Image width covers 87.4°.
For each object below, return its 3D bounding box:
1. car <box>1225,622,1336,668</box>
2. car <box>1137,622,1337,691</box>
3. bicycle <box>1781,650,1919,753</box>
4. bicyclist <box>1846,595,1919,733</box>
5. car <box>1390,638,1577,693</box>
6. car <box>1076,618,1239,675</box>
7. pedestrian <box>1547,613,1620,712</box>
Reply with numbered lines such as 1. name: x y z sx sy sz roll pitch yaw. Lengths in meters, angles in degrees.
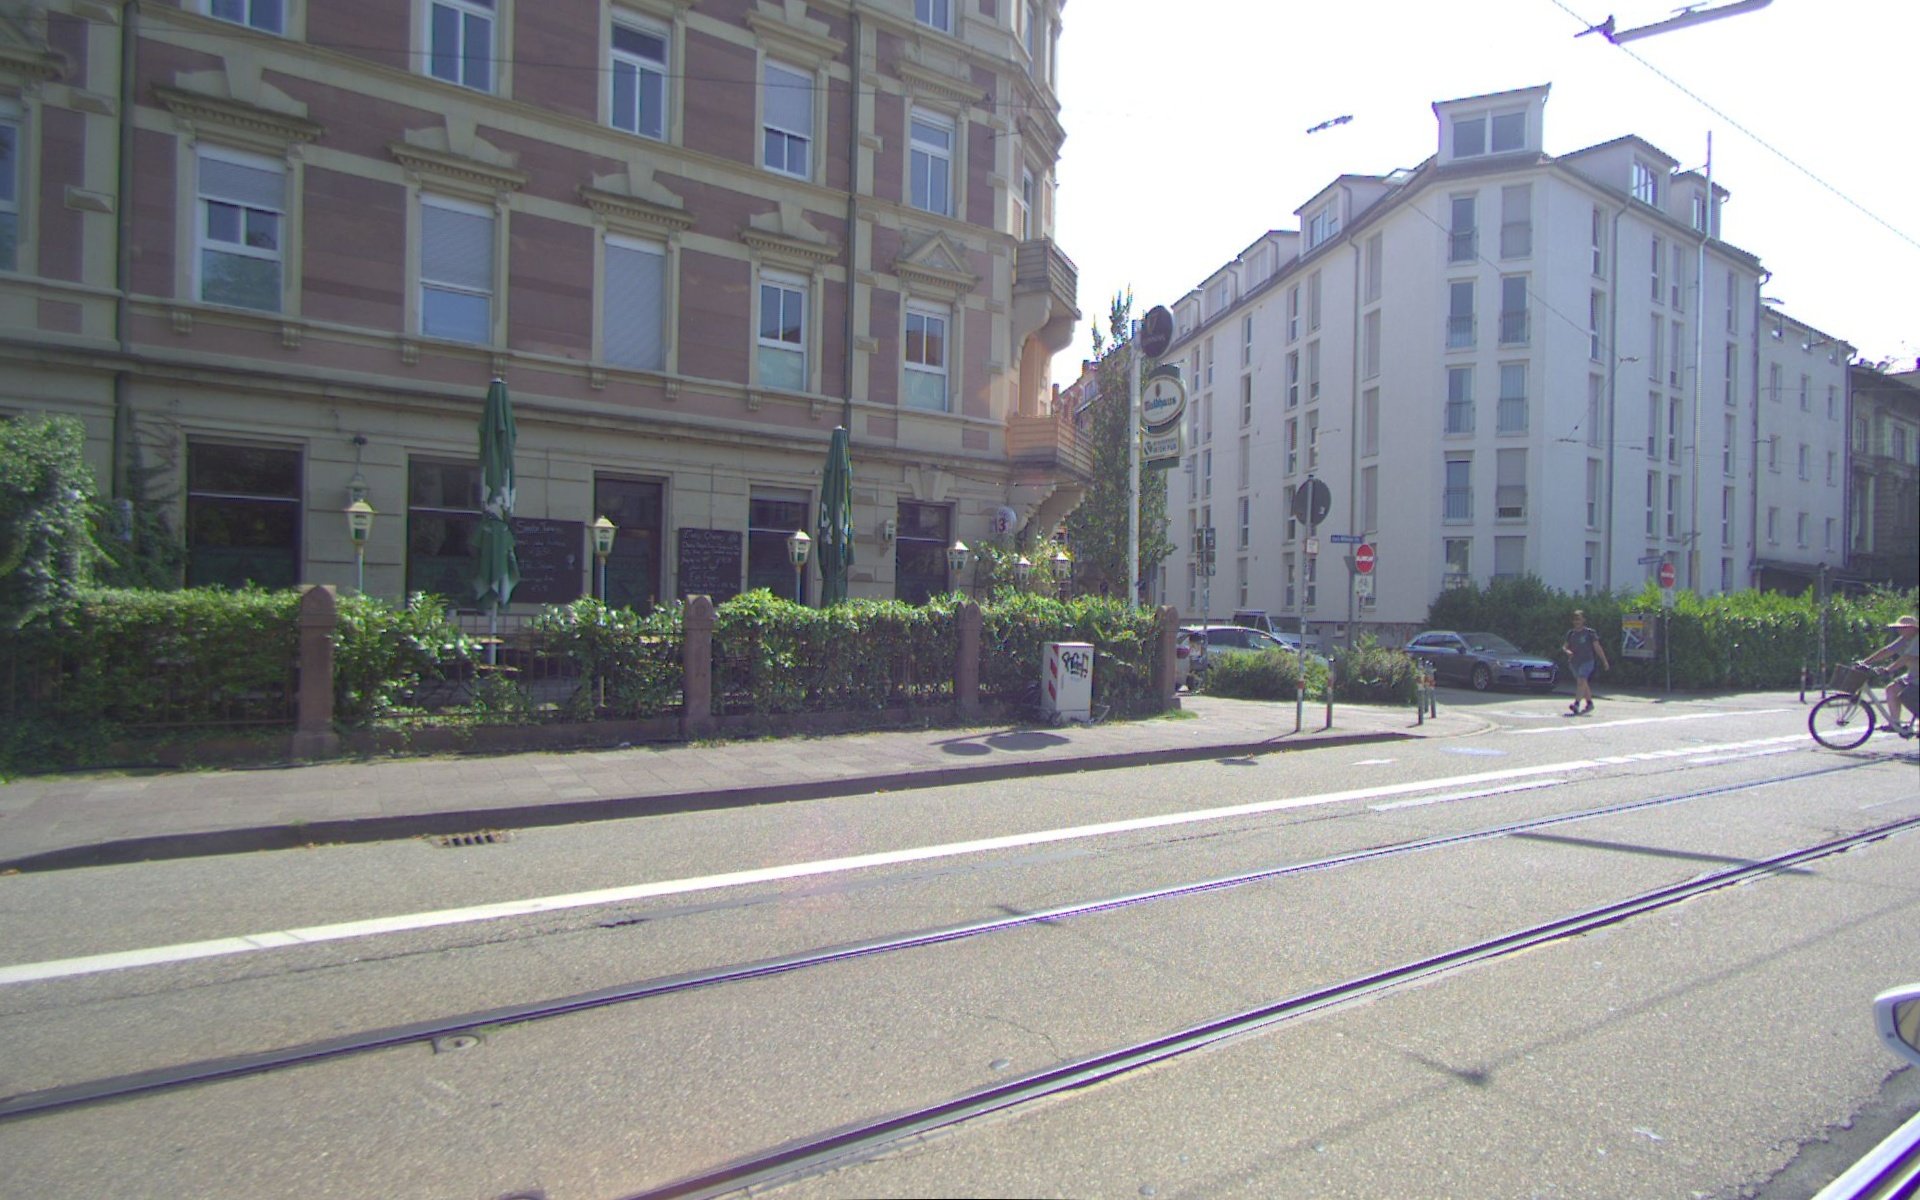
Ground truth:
1. car: 11.242 1.559 35.519 1.946 1.517 4.143 1 -2 -12
2. car: 5.831 1.191 21.320 3.747 1.360 1.689 1 -2 -11
3. bicycle: 11.572 1.263 12.526 2.008 1.166 0.783 1 0 36
4. bicyclist: 11.631 0.775 12.486 0.812 1.664 0.783 1 0 35
5. car: 13.055 1.601 25.383 1.965 1.199 4.234 1 -2 -12
6. car: 5.035 1.194 25.803 3.747 1.360 1.689 1 -2 -11
7. pedestrian: 11.529 1.138 18.584 1.029 1.779 0.775 1 -1 -32
